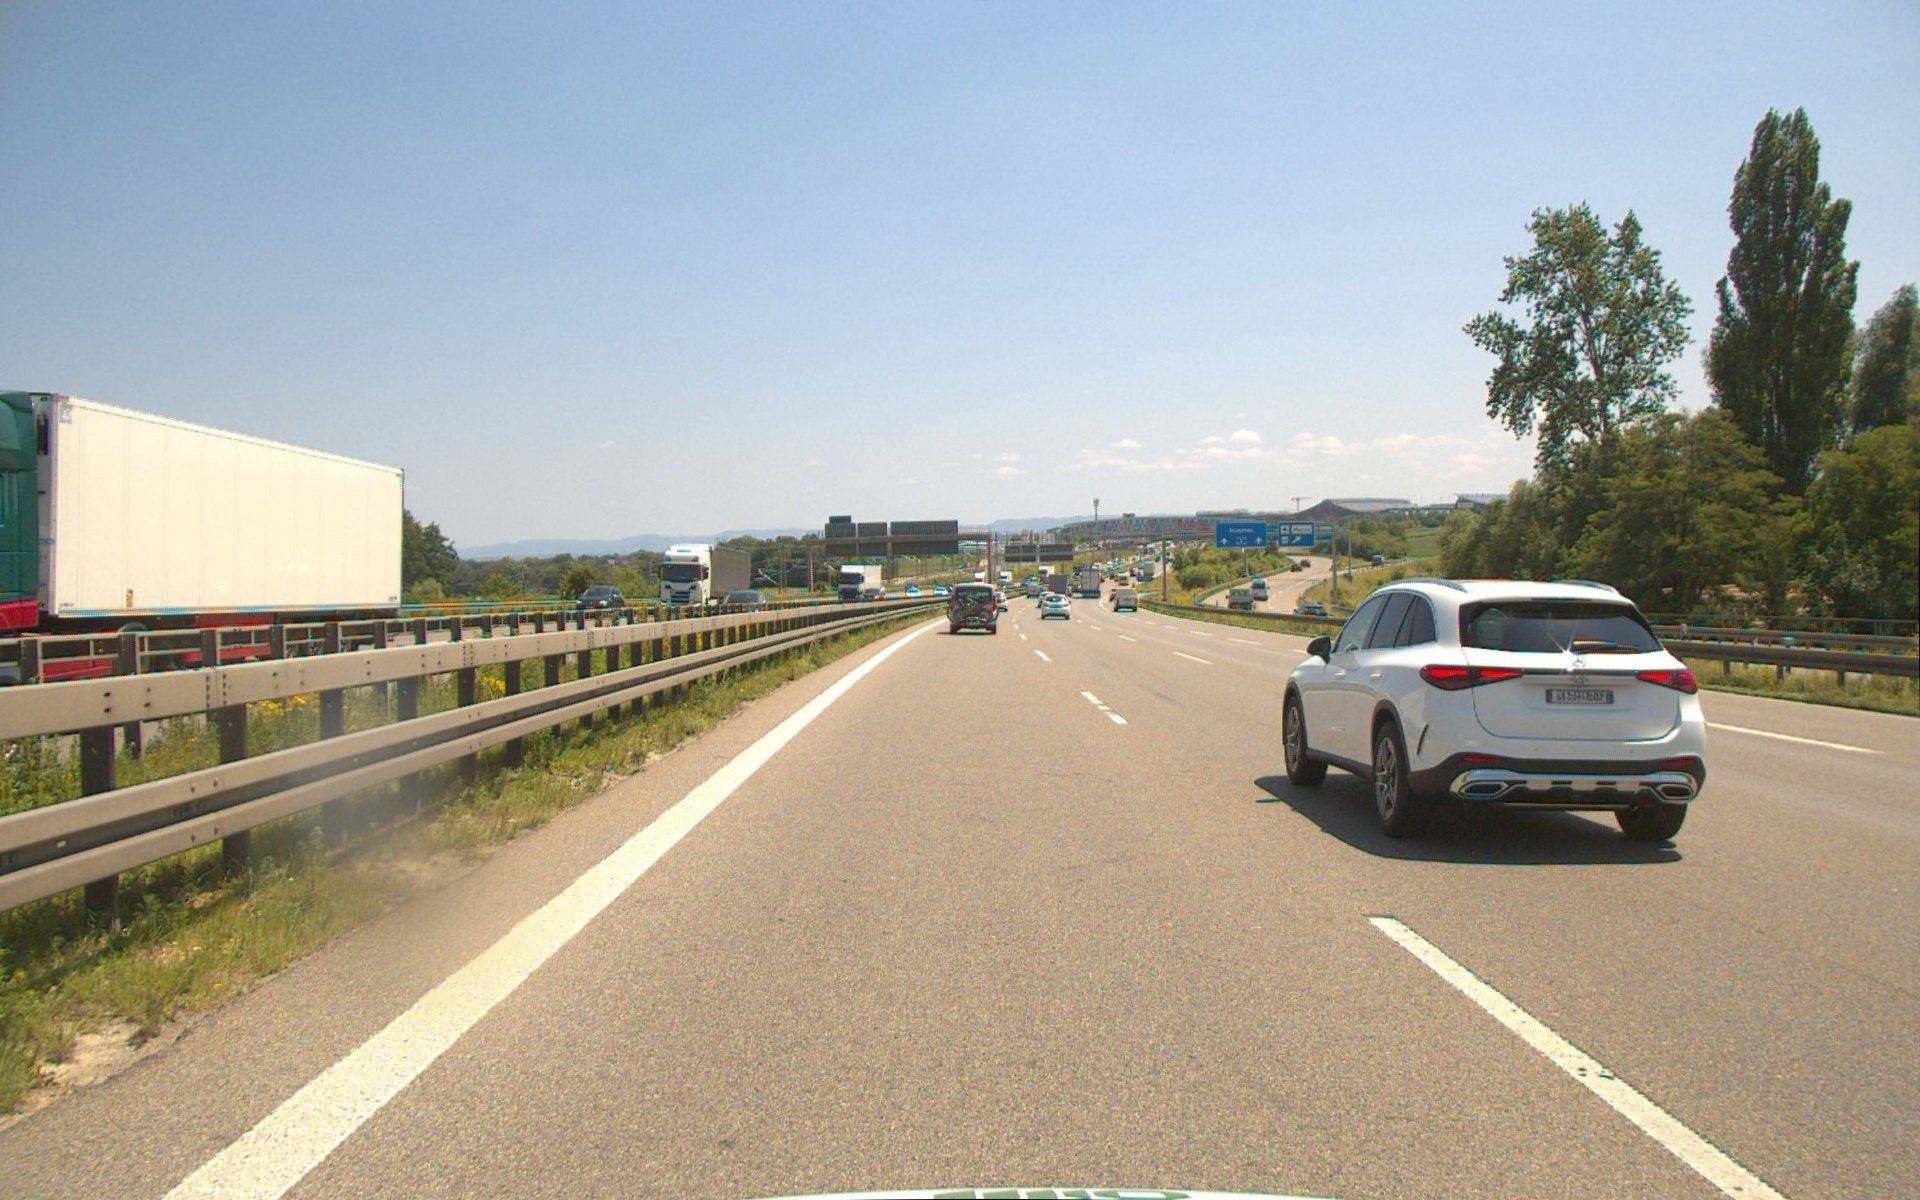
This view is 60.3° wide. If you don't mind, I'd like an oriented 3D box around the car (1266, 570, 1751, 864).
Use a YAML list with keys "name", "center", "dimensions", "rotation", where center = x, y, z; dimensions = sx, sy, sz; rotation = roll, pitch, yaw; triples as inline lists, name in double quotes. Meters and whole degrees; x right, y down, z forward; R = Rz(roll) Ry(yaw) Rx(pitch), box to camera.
- name: "car"
  center: [3.628, 0.677, 12.033]
  dimensions: [1.859, 1.676, 4.998]
  rotation: [1, 0, 0]

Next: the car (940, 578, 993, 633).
- name: "car"
  center: [0.274, 0.187, 61.523]
  dimensions: [1.887, 1.952, 4.949]
  rotation: [1, 0, 1]

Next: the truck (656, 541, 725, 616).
- name: "truck"
  center: [-15.592, -1.229, 96.175]
  dimensions: [2.821, 4.189, 6.385]
  rotation: [1, 0, 1]

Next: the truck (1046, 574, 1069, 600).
- name: "truck"
  center: [12.589, -1.653, 213.361]
  dimensions: [2.645, 3.163, 10.665]
  rotation: [1, 0, 5]

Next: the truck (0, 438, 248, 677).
- name: "truck"
  center: [-17.105, -0.723, 29.732]
  dimensions: [3.153, 3.852, 12.899]
  rotation: [1, 0, -1]

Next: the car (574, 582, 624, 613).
- name: "car"
  center: [-19.607, -0.146, 89.956]
  dimensions: [1.839, 1.642, 4.000]
  rotation: [1, 0, 0]

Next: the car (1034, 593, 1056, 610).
- name: "car"
  center: [7.984, 0.136, 155.650]
  dimensions: [1.941, 1.499, 4.001]
  rotation: [0, 0, 2]

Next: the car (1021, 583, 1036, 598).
- name: "car"
  center: [9.522, -1.309, 230.422]
  dimensions: [2.141, 2.038, 4.001]
  rotation: [1, 1, 2]

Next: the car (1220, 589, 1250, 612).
- name: "car"
  center: [25.016, 0.009, 150.714]
  dimensions: [1.953, 2.049, 3.998]
  rotation: [1, 0, -2]

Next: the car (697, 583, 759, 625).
- name: "car"
  center: [-9.430, 0.156, 67.480]
  dimensions: [1.809, 1.625, 4.410]
  rotation: [1, 0, 1]

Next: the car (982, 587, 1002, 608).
- name: "car"
  center: [2.551, -0.185, 131.787]
  dimensions: [1.543, 1.579, 3.965]
  rotation: [1, 0, 2]

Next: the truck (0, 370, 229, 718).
- name: "truck"
  center: [-13.073, -0.688, 22.516]
  dimensions: [2.906, 4.192, 7.596]
  rotation: [1, 0, -1]

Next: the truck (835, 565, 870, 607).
- name: "truck"
  center: [-11.455, -1.461, 176.648]
  dimensions: [2.972, 4.314, 6.687]
  rotation: [1, 0, 3]

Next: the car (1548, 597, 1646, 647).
- name: "car"
  center: [21.424, 0.721, 55.753]
  dimensions: [1.665, 1.602, 4.127]
  rotation: [1, 0, -1]

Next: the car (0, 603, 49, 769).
- name: "car"
  center: [-9.061, 0.739, 12.720]
  dimensions: [1.768, 1.414, 4.290]
  rotation: [1, 0, -1]

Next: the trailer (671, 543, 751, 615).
- name: "trailer"
  center: [-15.448, -1.250, 103.583]
  dimensions: [2.830, 4.185, 12.587]
  rotation: [1, 0, 1]

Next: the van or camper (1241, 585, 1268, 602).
- name: "van or camper"
  center: [36.337, -0.840, 204.121]
  dimensions: [2.478, 2.049, 4.459]
  rotation: [1, 0, -2]

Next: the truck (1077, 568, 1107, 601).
- name: "truck"
  center: [19.069, -2.250, 238.155]
  dimensions: [3.953, 4.335, 11.768]
  rotation: [0, 3, 6]

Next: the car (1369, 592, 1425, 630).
- name: "car"
  center: [22.967, 0.578, 86.981]
  dimensions: [1.899, 1.957, 4.180]
  rotation: [1, 0, 1]

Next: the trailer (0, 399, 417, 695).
- name: "trailer"
  center: [-13.156, -0.796, 30.415]
  dimensions: [2.895, 4.448, 10.731]
  rotation: [1, 0, -1]

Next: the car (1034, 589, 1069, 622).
- name: "car"
  center: [5.519, 0.317, 99.879]
  dimensions: [1.887, 1.952, 4.518]
  rotation: [1, 0, 0]

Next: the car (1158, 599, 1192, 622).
- name: "car"
  center: [16.678, 0.795, 128.350]
  dimensions: [1.953, 1.720, 3.998]
  rotation: [1, 0, -2]

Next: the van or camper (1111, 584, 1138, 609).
- name: "van or camper"
  center: [14.063, -0.302, 141.292]
  dimensions: [2.111, 2.049, 4.306]
  rotation: [1, 0, 3]

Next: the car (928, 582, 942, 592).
- name: "car"
  center: [-3.433, -1.814, 231.314]
  dimensions: [1.623, 1.428, 4.761]
  rotation: [1, 0, 3]

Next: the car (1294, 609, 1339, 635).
- name: "car"
  center: [23.034, 1.431, 107.019]
  dimensions: [1.953, 1.624, 3.998]
  rotation: [1, 0, -2]
